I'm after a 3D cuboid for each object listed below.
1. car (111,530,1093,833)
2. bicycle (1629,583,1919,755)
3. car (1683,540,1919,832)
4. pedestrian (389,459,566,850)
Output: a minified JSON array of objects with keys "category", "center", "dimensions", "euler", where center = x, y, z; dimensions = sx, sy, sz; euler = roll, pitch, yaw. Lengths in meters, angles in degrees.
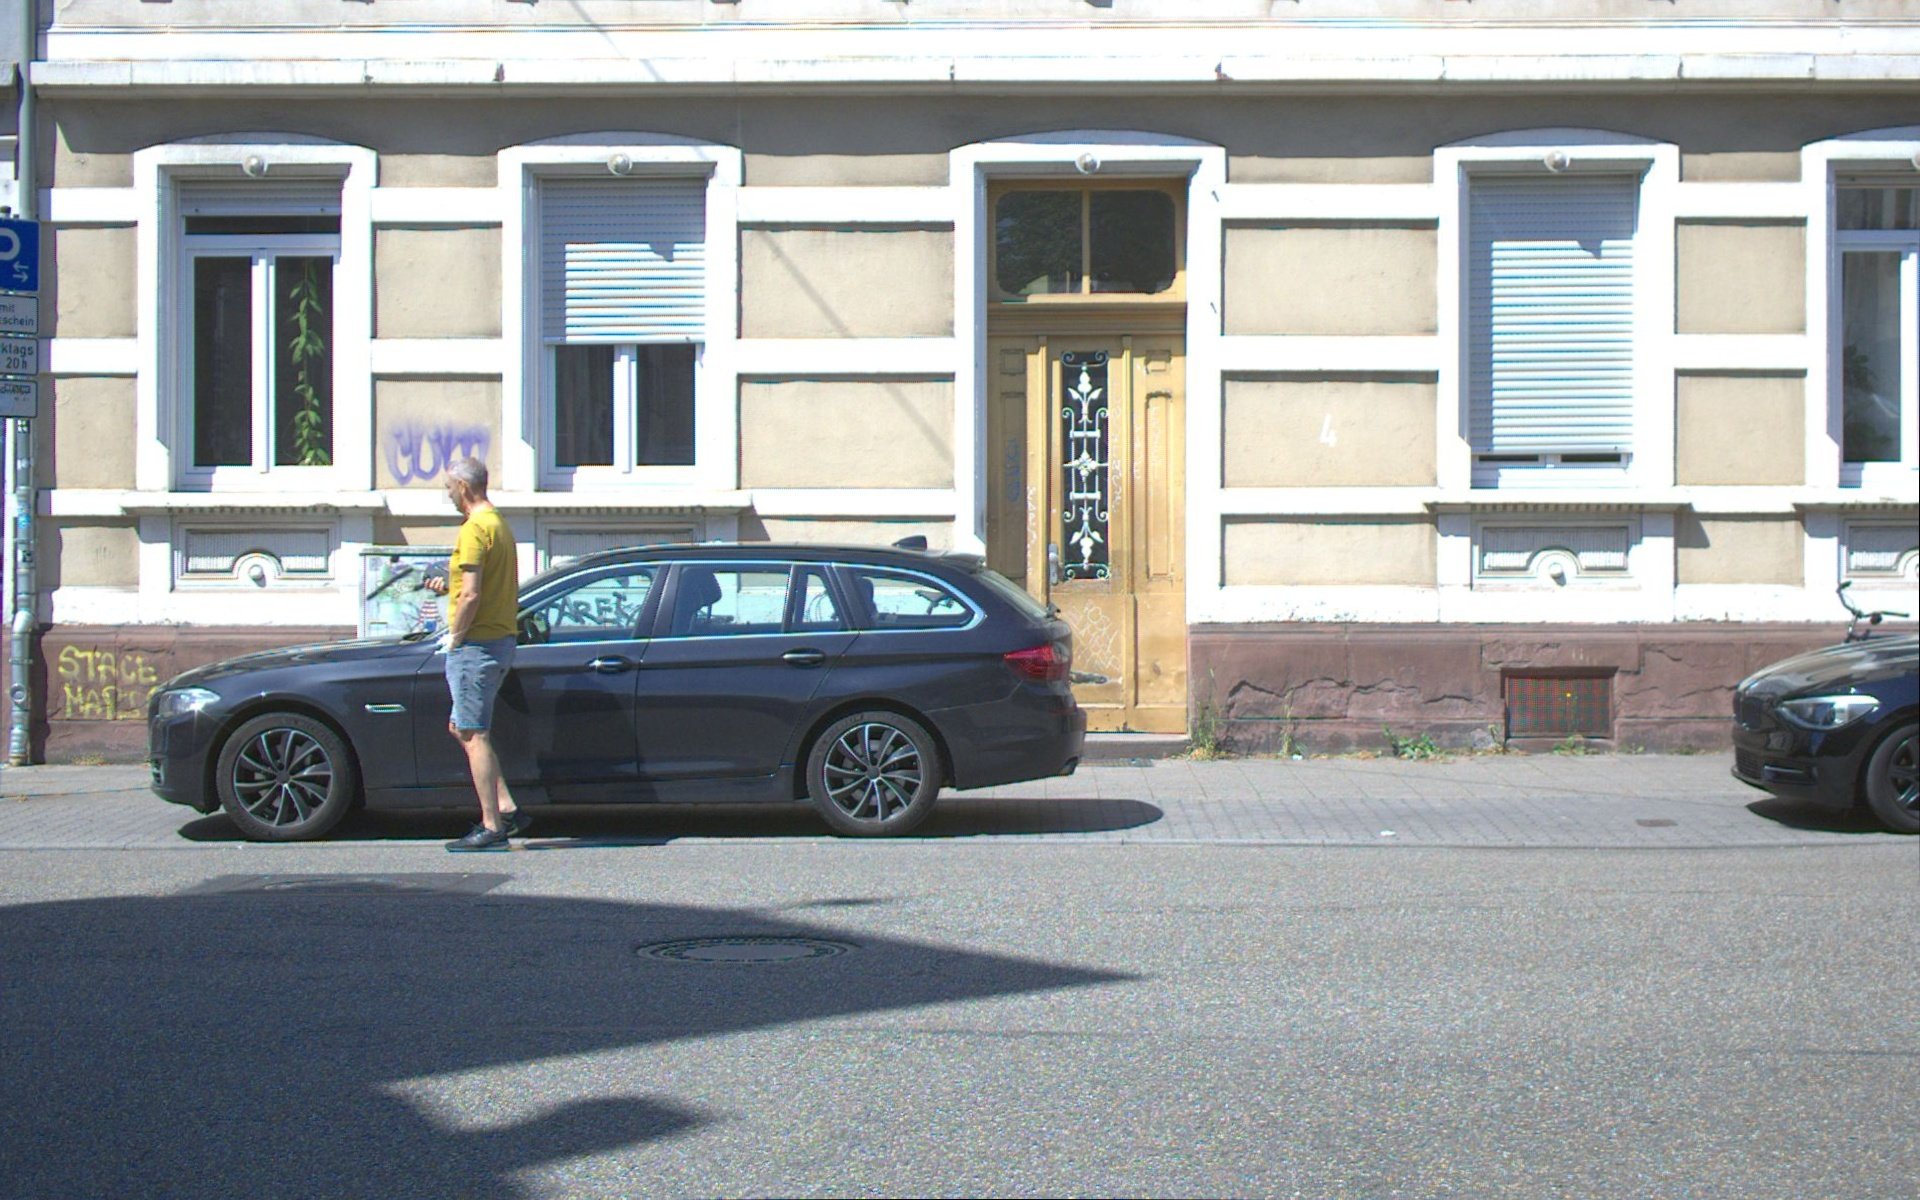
[{"category":"car","center":[-1.766,0.393,18.059],"dimensions":[4.859,1.432,2.000],"euler":[-1,1,1]},{"category":"bicycle","center":[5.245,0.430,21.584],"dimensions":[2.004,1.018,0.424],"euler":[-1,4,-1]},{"category":"car","center":[6.117,0.393,17.994],"dimensions":[4.294,1.365,1.807],"euler":[-1,3,1]},{"category":"pedestrian","center":[-2.327,0.256,16.648],"dimensions":[0.724,1.847,0.685],"euler":[-1,1,1]}]
